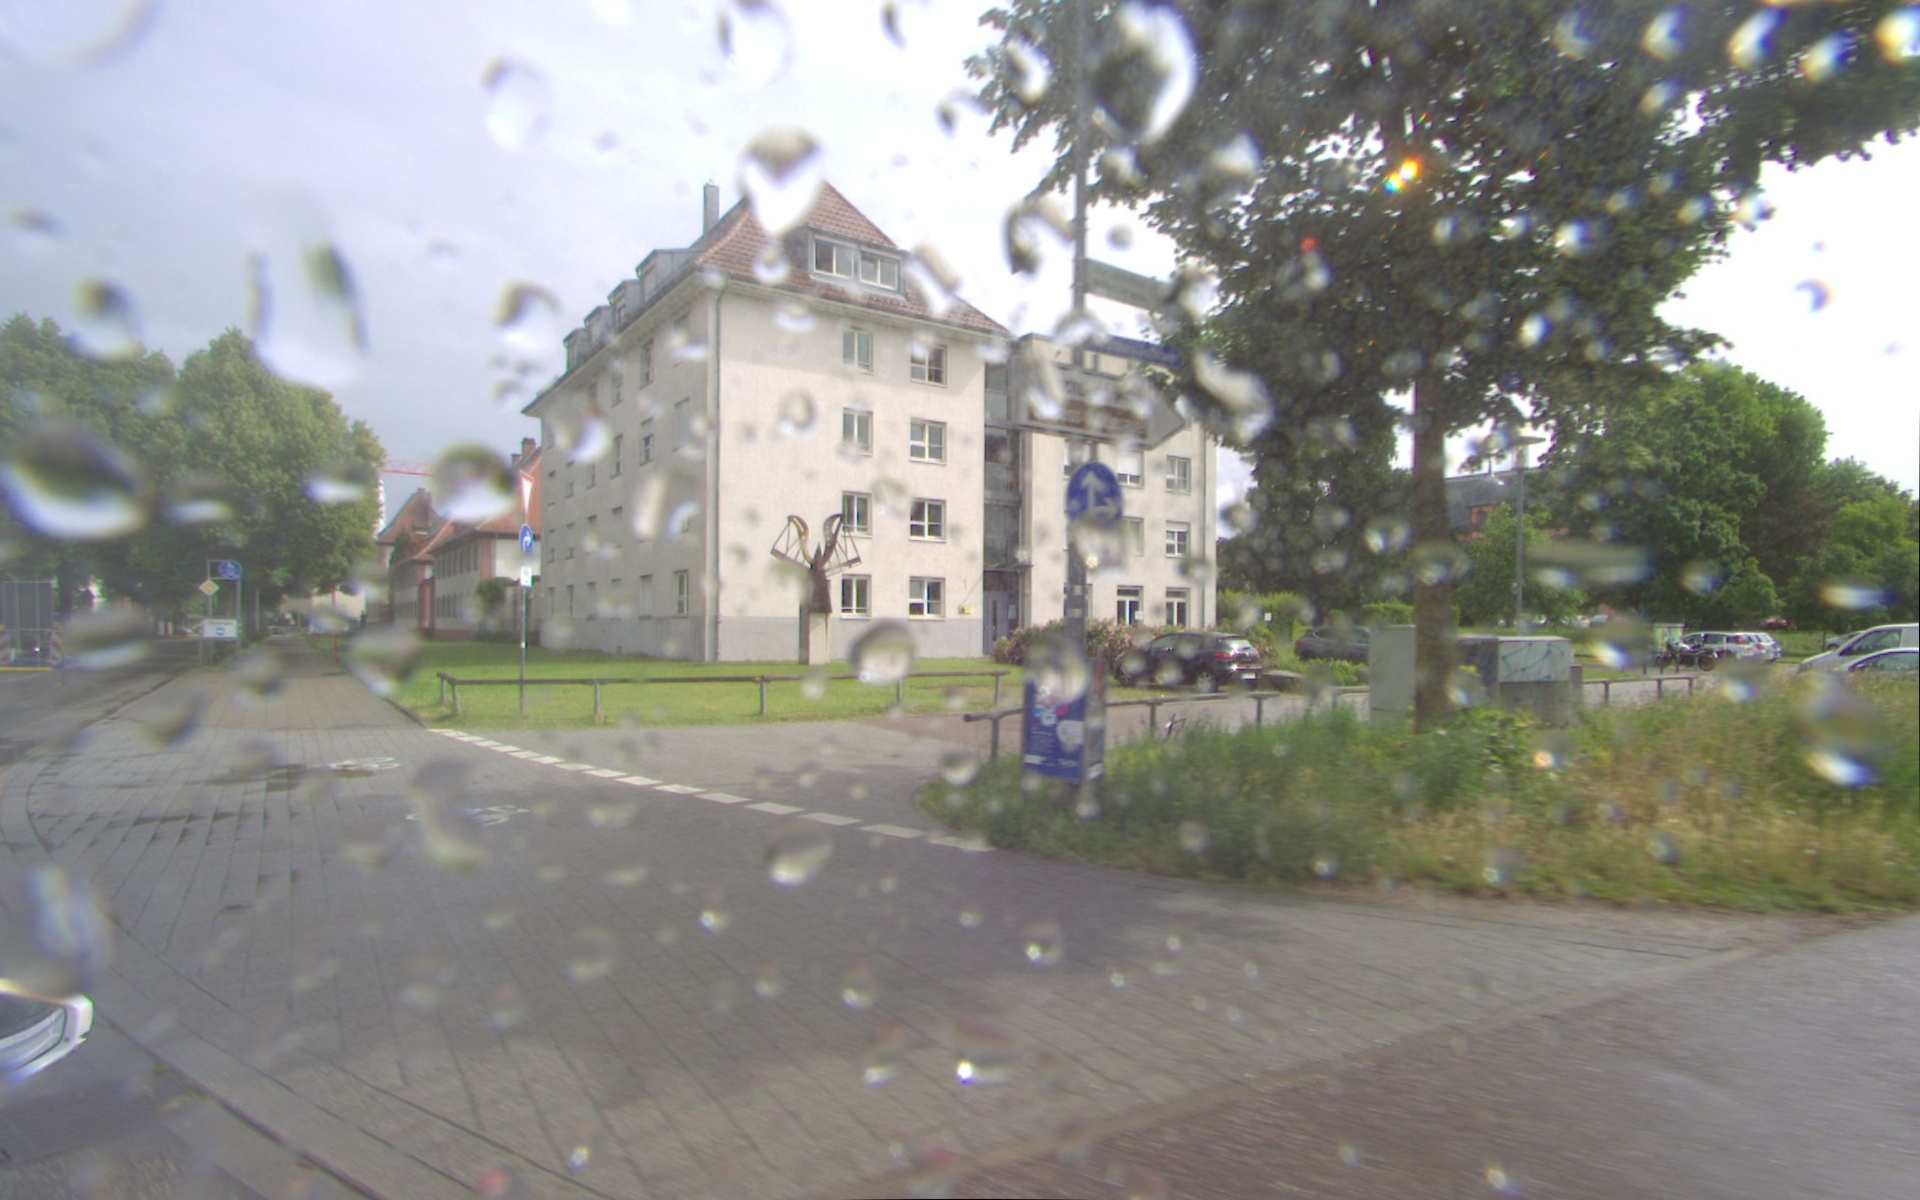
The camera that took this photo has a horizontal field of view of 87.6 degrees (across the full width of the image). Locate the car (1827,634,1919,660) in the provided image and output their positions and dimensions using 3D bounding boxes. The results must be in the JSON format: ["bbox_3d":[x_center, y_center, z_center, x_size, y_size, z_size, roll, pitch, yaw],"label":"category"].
[{"bbox_3d":[54.892,2.794,60.122,1.776,1.547,3.974,1,-2,-34],"label":"car"}]

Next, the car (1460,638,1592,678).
[{"bbox_3d":[19.212,1.942,34.108,1.642,1.252,3.559,1,-2,-34],"label":"car"}]

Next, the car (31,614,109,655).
[{"bbox_3d":[-41.678,1.574,47.018,2.056,1.754,4.667,4,-2,-34],"label":"car"}]

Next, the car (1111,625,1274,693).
[{"bbox_3d":[5.640,1.398,24.625,1.656,1.501,3.711,1,-1,-37],"label":"car"}]

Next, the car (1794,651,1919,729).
[{"bbox_3d":[19.793,1.847,20.710,1.586,1.529,3.601,1,-2,-32],"label":"car"}]

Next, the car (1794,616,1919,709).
[{"bbox_3d":[22.723,1.425,22.979,2.083,2.084,5.133,0,0,-31],"label":"car"}]

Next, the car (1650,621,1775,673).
[{"bbox_3d":[32.718,2.023,43.594,1.978,2.039,3.969,4,-2,-38],"label":"car"}]

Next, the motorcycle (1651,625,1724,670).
[{"bbox_3d":[30.465,1.984,41.967,0.652,1.789,2.332,3,-2,-38],"label":"motorcycle"}]

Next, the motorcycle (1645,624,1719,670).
[{"bbox_3d":[29.761,1.927,41.311,0.652,1.789,2.332,3,-2,-38],"label":"motorcycle"}]

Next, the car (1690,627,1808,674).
[{"bbox_3d":[36.920,2.341,46.942,1.978,2.039,3.969,4,-2,-38],"label":"car"}]

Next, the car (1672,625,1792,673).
[{"bbox_3d":[35.158,2.213,45.678,1.978,2.039,3.969,4,-2,-38],"label":"car"}]

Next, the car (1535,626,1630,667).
[{"bbox_3d":[33.990,2.529,54.785,1.978,2.039,3.969,4,-2,-38],"label":"car"}]

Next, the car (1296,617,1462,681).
[{"bbox_3d":[12.052,1.355,29.010,1.829,1.573,4.075,1,1,-36],"label":"car"}]

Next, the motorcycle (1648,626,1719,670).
[{"bbox_3d":[30.765,2.023,42.611,0.652,1.789,2.332,3,-2,-38],"label":"motorcycle"}]
